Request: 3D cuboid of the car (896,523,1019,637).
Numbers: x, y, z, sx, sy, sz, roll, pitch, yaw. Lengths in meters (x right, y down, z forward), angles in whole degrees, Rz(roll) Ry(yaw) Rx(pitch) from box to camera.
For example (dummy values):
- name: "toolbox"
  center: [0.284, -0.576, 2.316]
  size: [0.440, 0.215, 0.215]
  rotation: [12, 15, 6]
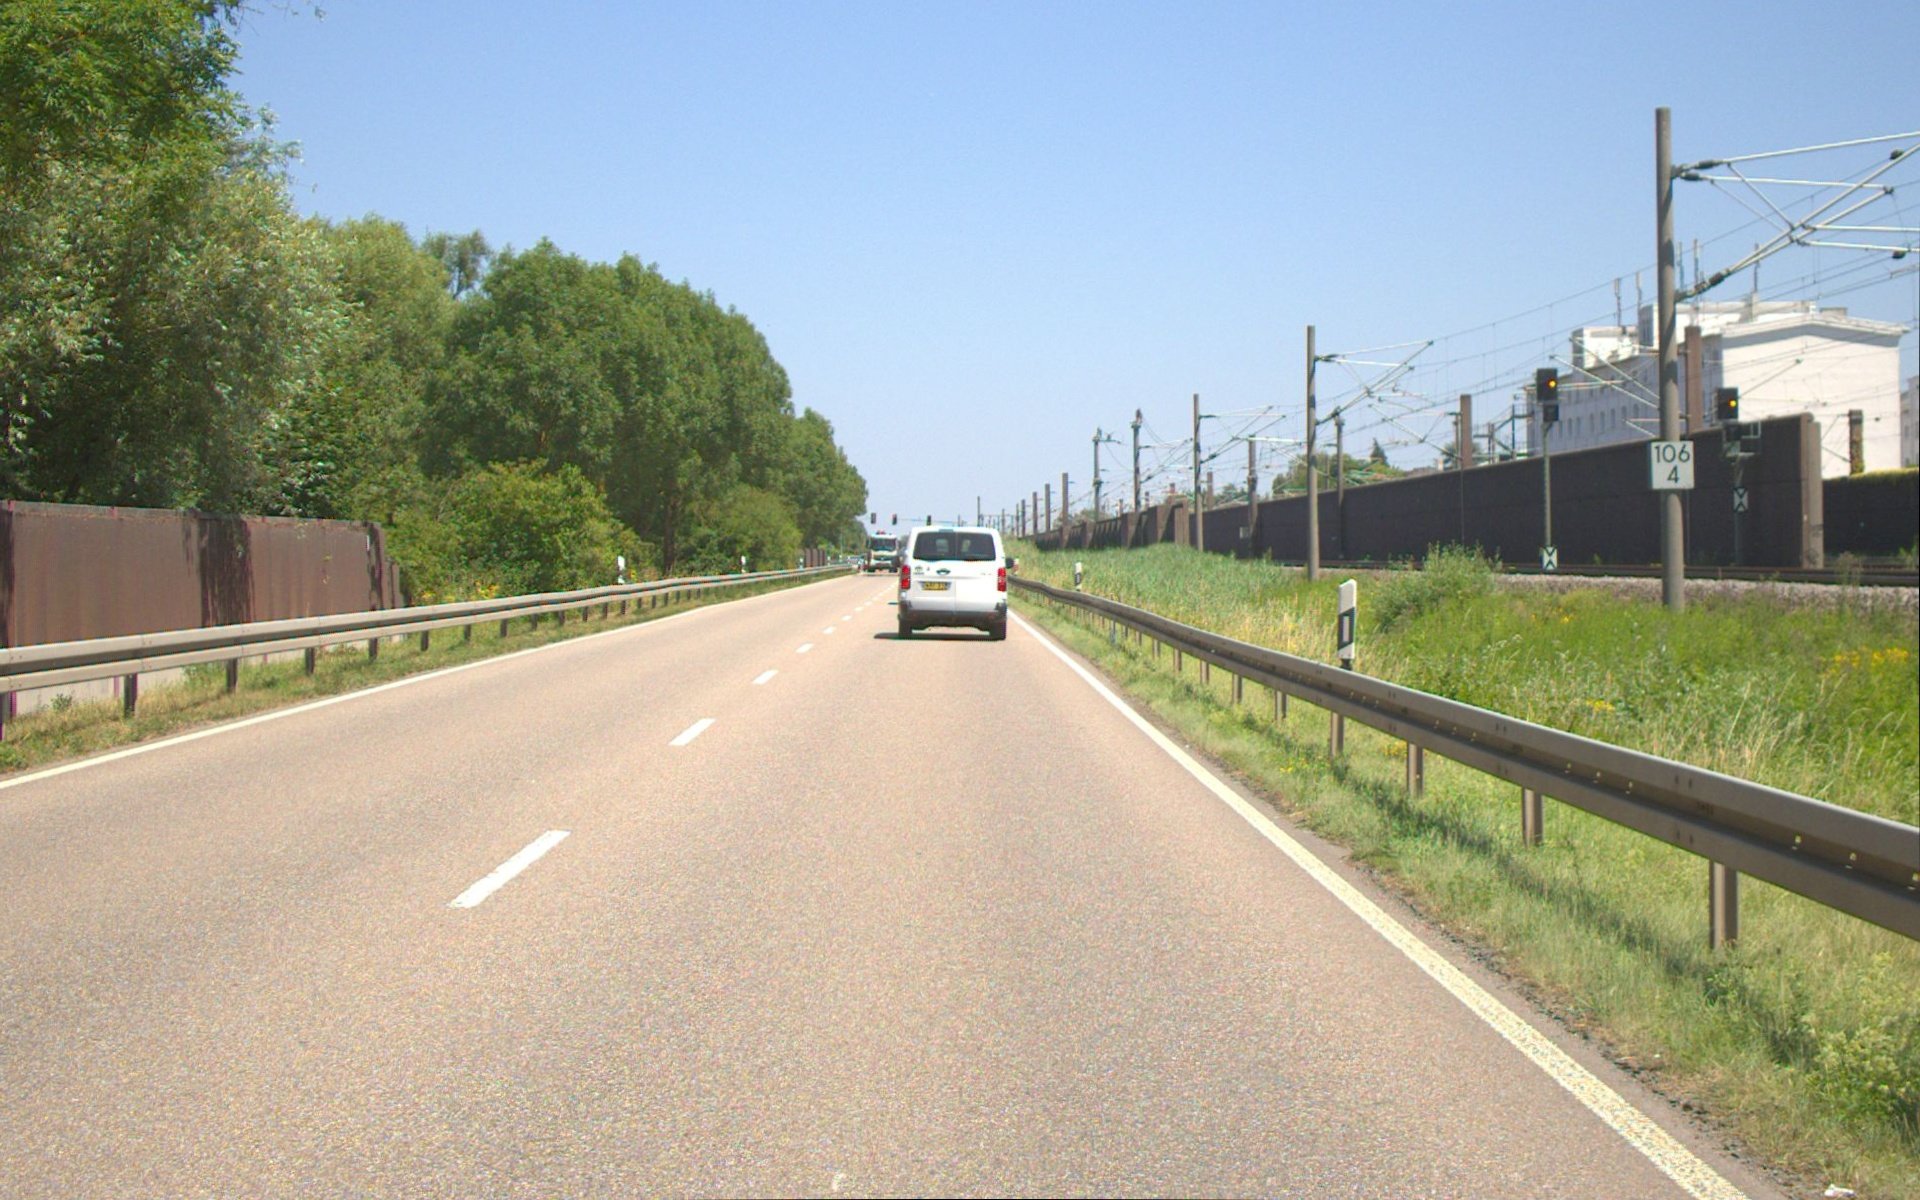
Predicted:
- name: "car"
  center: [-0.059, -0.367, 59.511]
  size: [1.993, 1.843, 4.000]
  rotation: [2, 1, 0]

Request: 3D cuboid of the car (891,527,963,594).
- name: "car"
  center: [-0.942, -1.152, 99.909]
  size: [1.993, 1.843, 4.000]
  rotation: [2, 1, 0]
